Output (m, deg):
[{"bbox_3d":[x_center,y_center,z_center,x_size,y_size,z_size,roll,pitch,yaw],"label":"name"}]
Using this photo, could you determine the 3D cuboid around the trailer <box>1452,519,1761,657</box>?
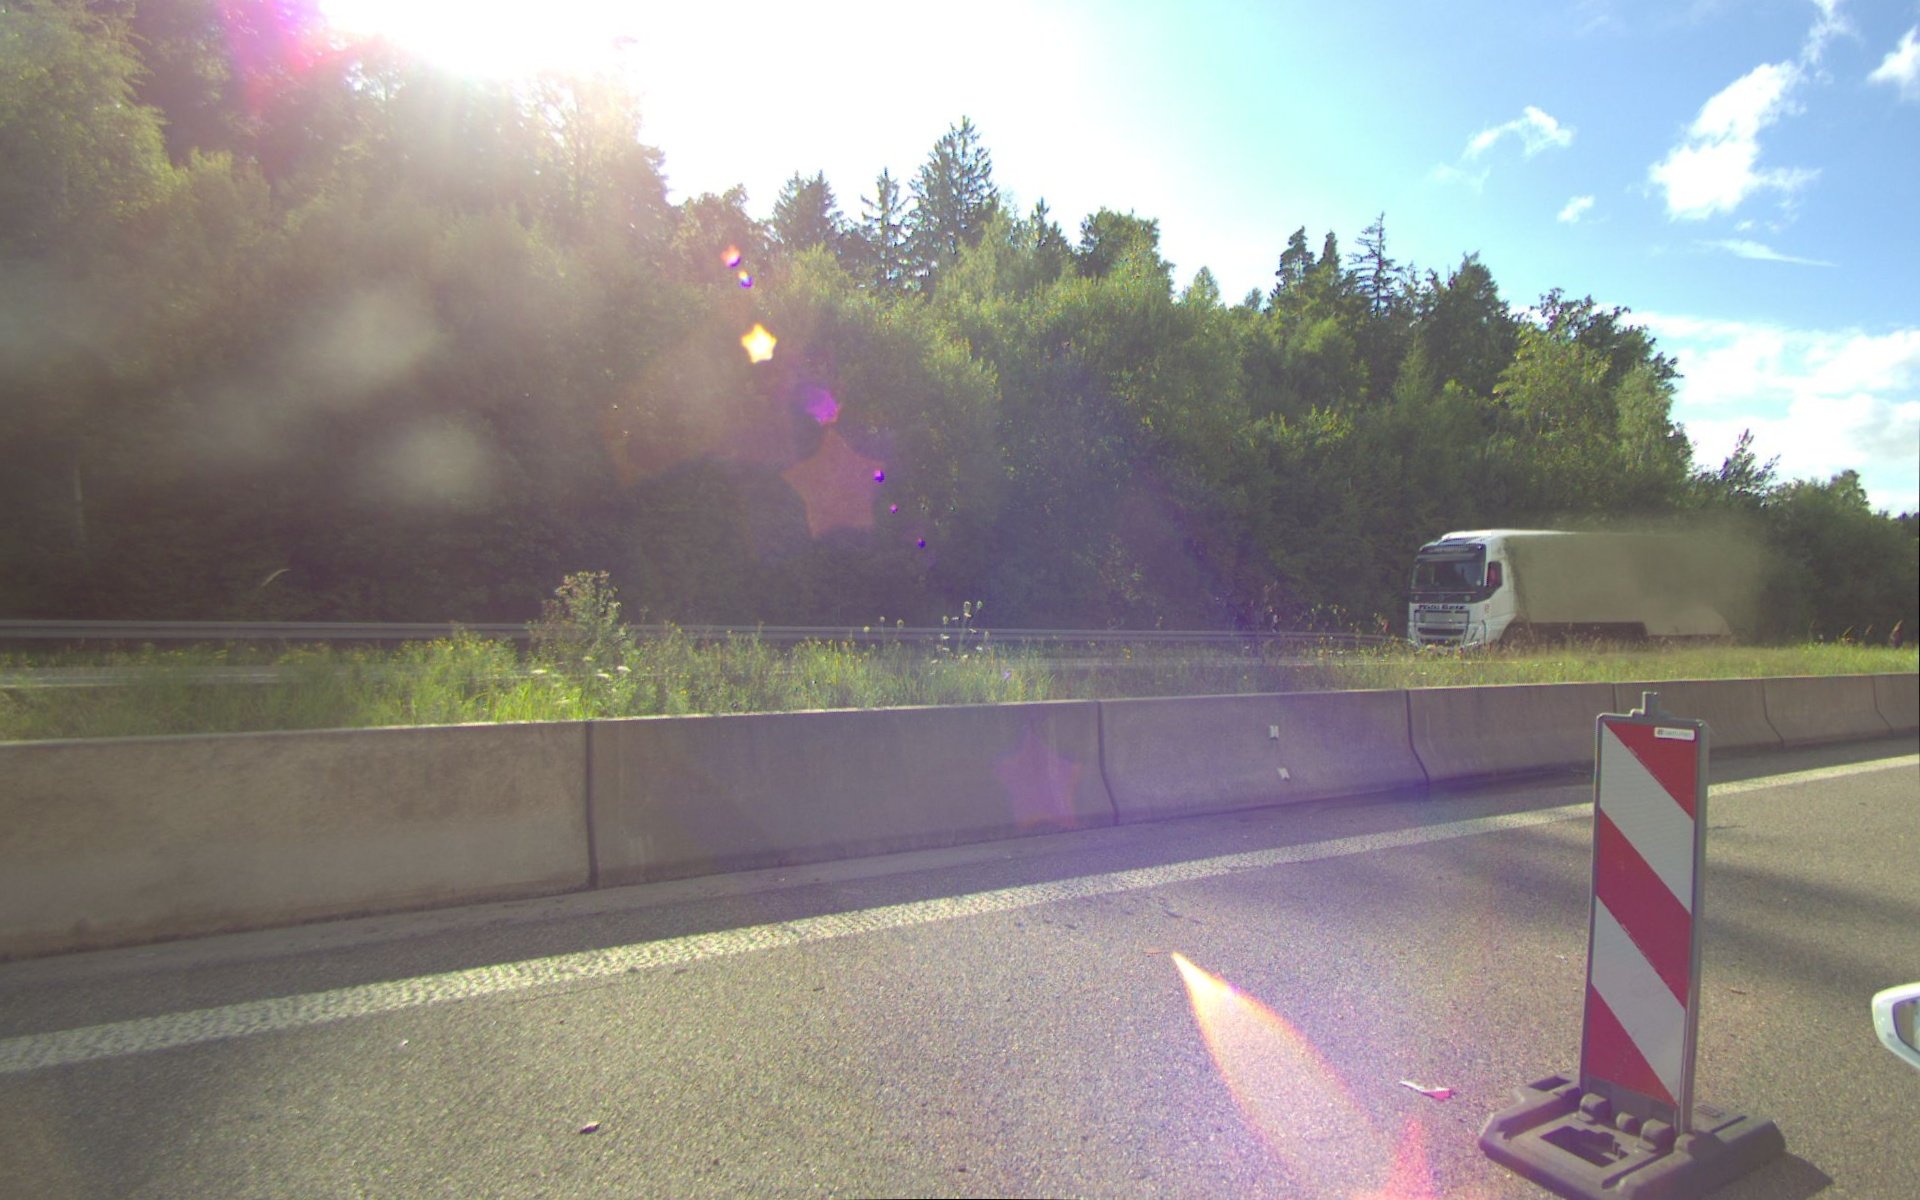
[{"bbox_3d":[22.180,-0.166,33.921,13.777,3.974,2.814,2,0,-31],"label":"trailer"}]

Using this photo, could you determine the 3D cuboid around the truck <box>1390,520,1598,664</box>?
[{"bbox_3d":[16.190,-0.150,30.398,5.879,3.961,2.813,2,0,-30],"label":"truck"}]

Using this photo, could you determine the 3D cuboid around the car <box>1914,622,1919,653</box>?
[{"bbox_3d":[64.272,2.507,65.447,3.953,2.040,1.984,2,0,-30],"label":"car"}]
